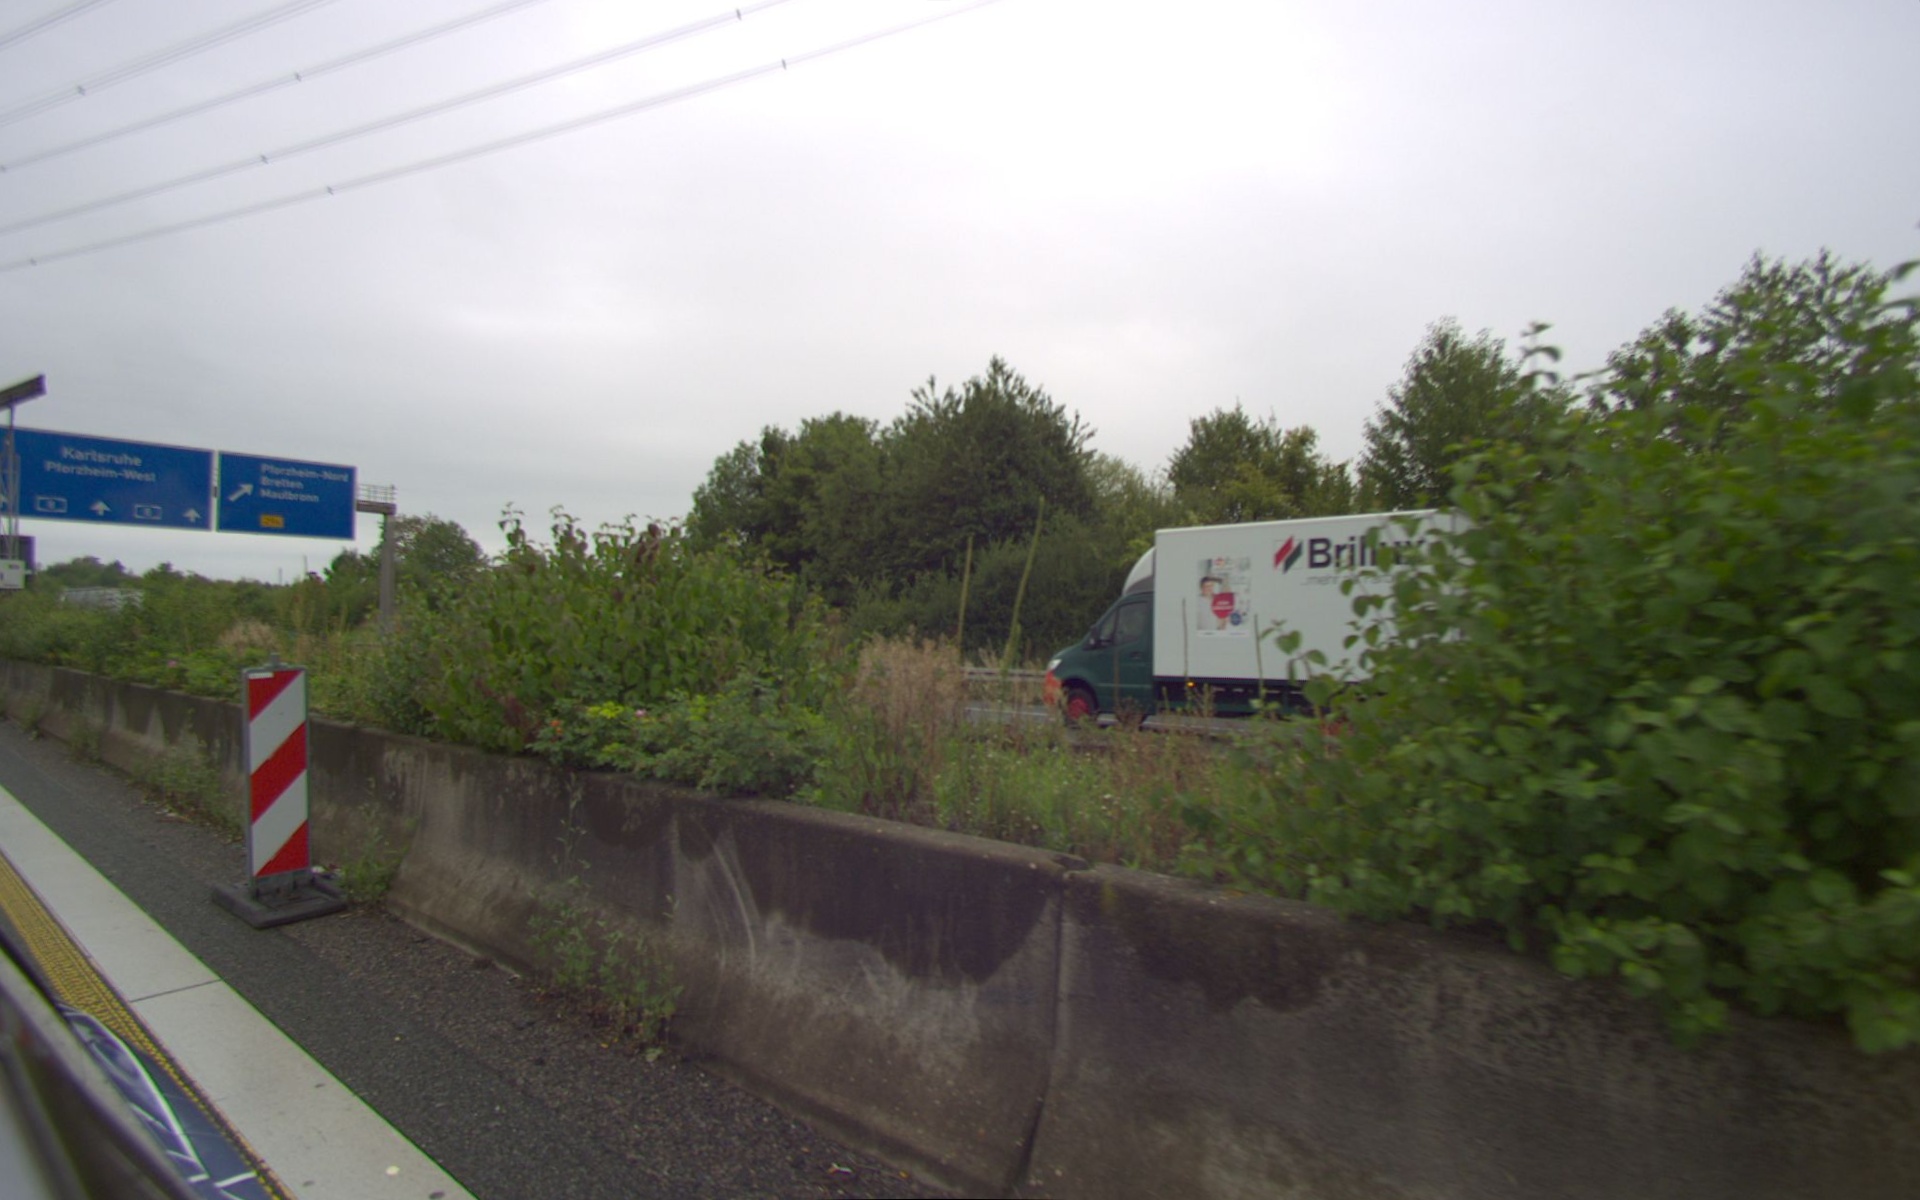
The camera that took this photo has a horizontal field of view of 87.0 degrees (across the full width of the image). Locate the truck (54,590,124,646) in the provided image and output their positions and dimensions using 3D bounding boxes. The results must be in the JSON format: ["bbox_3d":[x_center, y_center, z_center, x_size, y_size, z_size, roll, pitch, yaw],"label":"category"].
[{"bbox_3d":[-66.868,1.407,77.627,7.228,4.054,2.757,-1,-4,40],"label":"truck"}]

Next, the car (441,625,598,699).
[{"bbox_3d":[-10.155,1.342,23.203,4.159,1.467,1.699,0,0,41],"label":"car"}]

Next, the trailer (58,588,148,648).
[{"bbox_3d":[-63.538,1.363,74.885,13.241,4.054,2.757,-1,-4,40],"label":"trailer"}]

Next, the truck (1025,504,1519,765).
[{"bbox_3d":[4.530,0.528,15.778,7.049,3.252,2.237,-1,-4,41],"label":"truck"}]
